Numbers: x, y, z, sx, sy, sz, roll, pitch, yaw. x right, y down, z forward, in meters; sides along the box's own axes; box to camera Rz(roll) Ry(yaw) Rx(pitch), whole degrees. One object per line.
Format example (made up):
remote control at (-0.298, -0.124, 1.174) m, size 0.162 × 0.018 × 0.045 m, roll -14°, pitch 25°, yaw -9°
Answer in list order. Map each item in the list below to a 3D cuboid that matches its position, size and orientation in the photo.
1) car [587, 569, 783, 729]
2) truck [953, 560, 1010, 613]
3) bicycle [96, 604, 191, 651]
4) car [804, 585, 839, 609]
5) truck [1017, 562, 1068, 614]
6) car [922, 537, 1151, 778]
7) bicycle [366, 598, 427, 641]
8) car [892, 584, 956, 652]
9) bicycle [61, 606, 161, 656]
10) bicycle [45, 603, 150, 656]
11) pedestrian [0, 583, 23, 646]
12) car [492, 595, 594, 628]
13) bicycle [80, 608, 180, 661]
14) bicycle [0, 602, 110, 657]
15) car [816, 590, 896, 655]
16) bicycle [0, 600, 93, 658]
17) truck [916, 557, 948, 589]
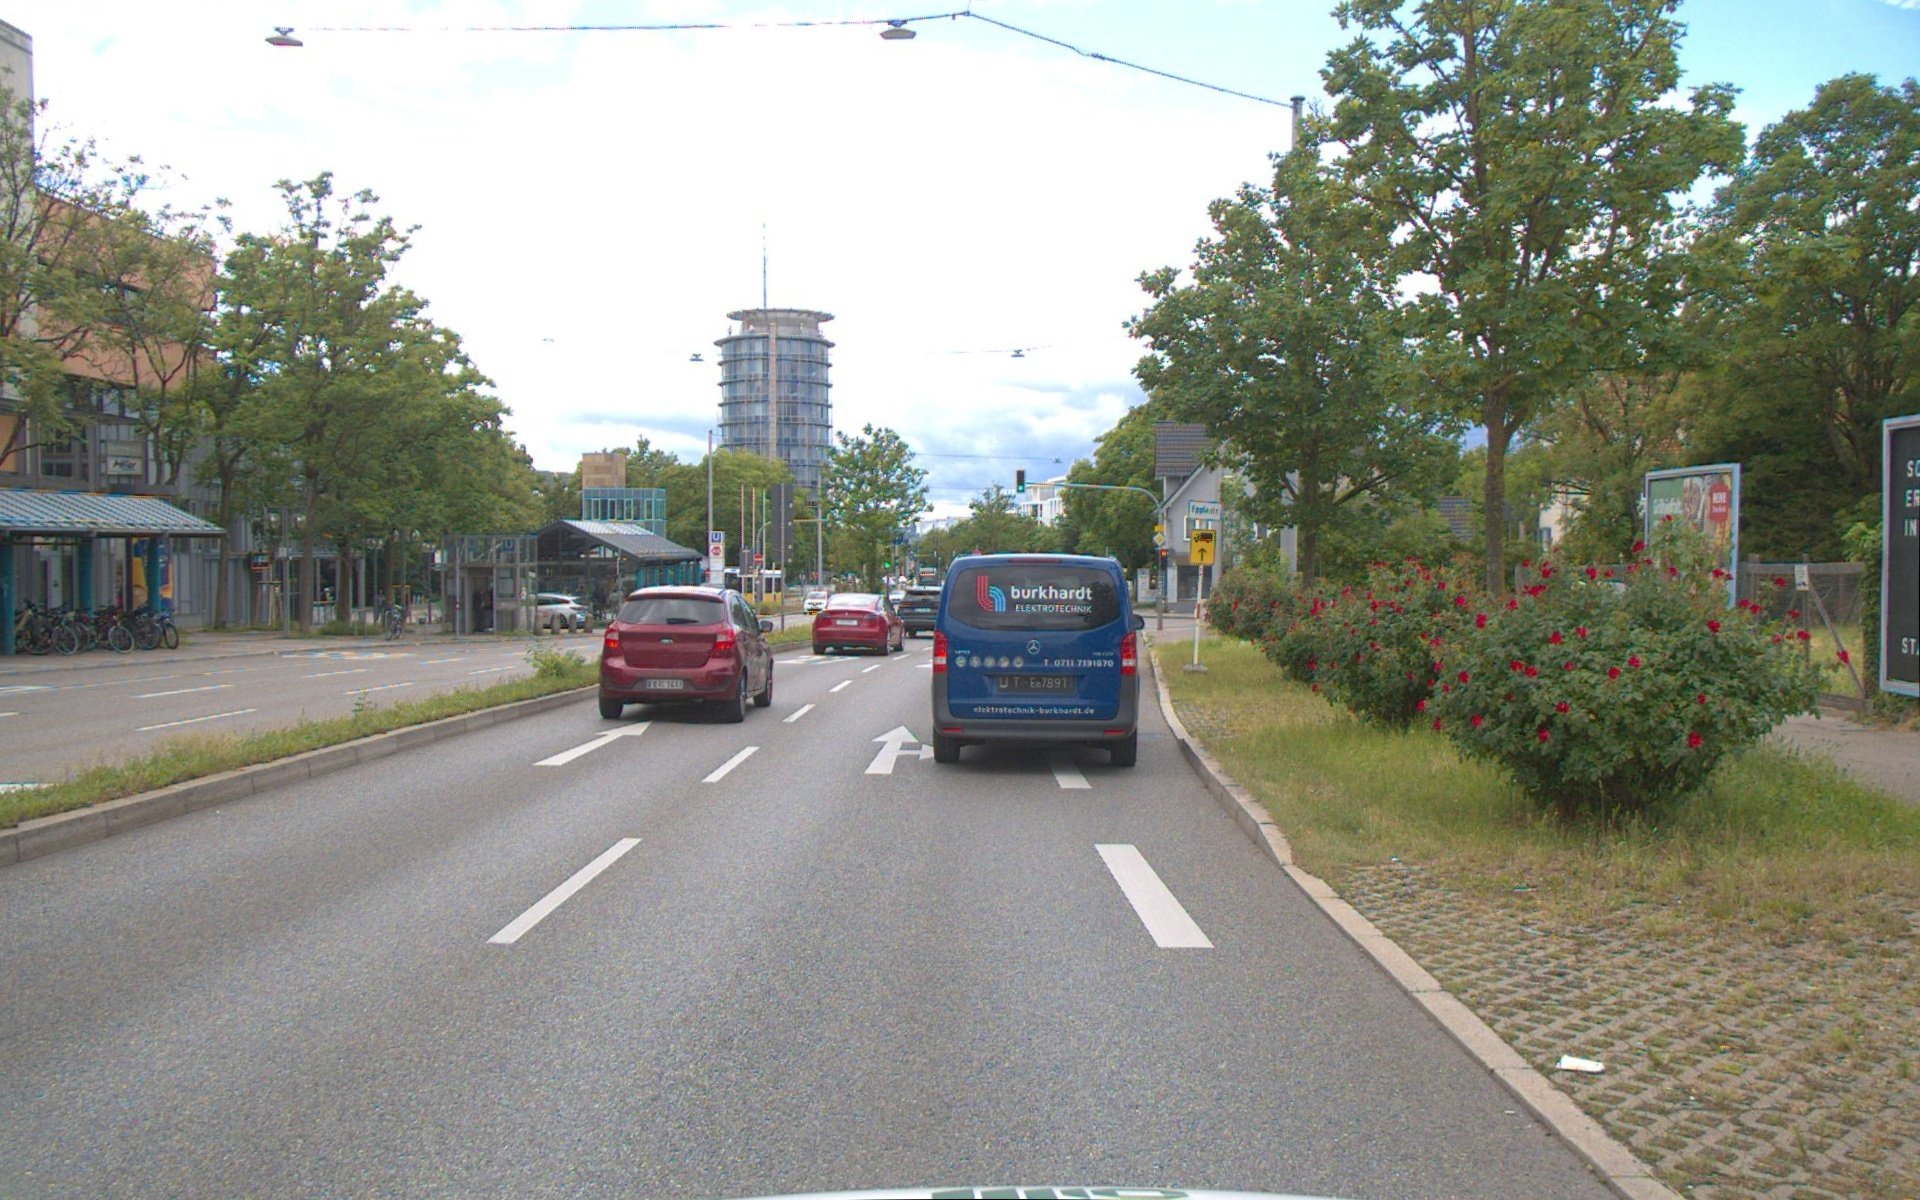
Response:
car at (-3.250, 0.528, 20.268) m, size 1.710 × 1.753 × 4.000 m, roll 0°, pitch 0°, yaw 0°
truck at (0.993, -0.591, 73.428) m, size 1.951 × 2.203 × 5.563 m, roll 2°, pitch 0°, yaw 6°
bicycle at (-20.752, 0.694, 42.068) m, size 2.027 × 1.173 × 0.710 m, roll 1°, pitch 0°, yaw -10°
car at (-9.458, -0.186, 113.129) m, size 1.589 × 1.601 × 4.003 m, roll 0°, pitch 0°, yaw 6°
truck at (3.823, -0.536, 75.855) m, size 1.951 × 2.203 × 5.563 m, roll 2°, pitch 0°, yaw 6°
car at (0.825, 0.471, 16.196) m, size 1.907 × 2.000 × 4.544 m, roll 1°, pitch 0°, yaw 5°
bicycle at (-17.966, 0.599, 52.790) m, size 1.030 × 1.293 × 2.425 m, roll 2°, pitch 0°, yaw 2°
car at (-1.223, 0.551, 54.379) m, size 1.954 × 2.048 × 3.998 m, roll 1°, pitch 1°, yaw -3°
bicycle at (-20.531, 0.740, 40.041) m, size 2.027 × 1.173 × 0.710 m, roll 0°, pitch 0°, yaw -10°
bicycle at (-20.141, 0.686, 38.657) m, size 2.027 × 1.173 × 0.710 m, roll 1°, pitch 0°, yaw -10°
pedestrian at (-25.433, 0.384, 44.041) m, size 0.520 × 1.672 × 0.676 m, roll 0°, pitch 0°, yaw 6°
car at (-17.810, 0.478, 70.768) m, size 3.907 × 1.378 × 1.999 m, roll 0°, pitch 0°, yaw -3°
bicycle at (-20.572, 0.852, 41.036) m, size 2.027 × 1.173 × 0.710 m, roll 3°, pitch -1°, yaw -10°
bicycle at (-20.580, 0.677, 37.649) m, size 2.027 × 1.173 × 0.710 m, roll 2°, pitch 0°, yaw -10°
car at (-2.518, 0.529, 40.408) m, size 1.831 × 1.512 × 3.997 m, roll 0°, pitch 0°, yaw -3°
bicycle at (-20.378, 0.634, 36.510) m, size 2.027 × 1.173 × 0.710 m, roll 3°, pitch 0°, yaw -10°
truck at (-3.534, -3.393, 210.679) m, size 3.297 × 3.792 × 11.284 m, roll 1°, pitch 0°, yaw 3°
